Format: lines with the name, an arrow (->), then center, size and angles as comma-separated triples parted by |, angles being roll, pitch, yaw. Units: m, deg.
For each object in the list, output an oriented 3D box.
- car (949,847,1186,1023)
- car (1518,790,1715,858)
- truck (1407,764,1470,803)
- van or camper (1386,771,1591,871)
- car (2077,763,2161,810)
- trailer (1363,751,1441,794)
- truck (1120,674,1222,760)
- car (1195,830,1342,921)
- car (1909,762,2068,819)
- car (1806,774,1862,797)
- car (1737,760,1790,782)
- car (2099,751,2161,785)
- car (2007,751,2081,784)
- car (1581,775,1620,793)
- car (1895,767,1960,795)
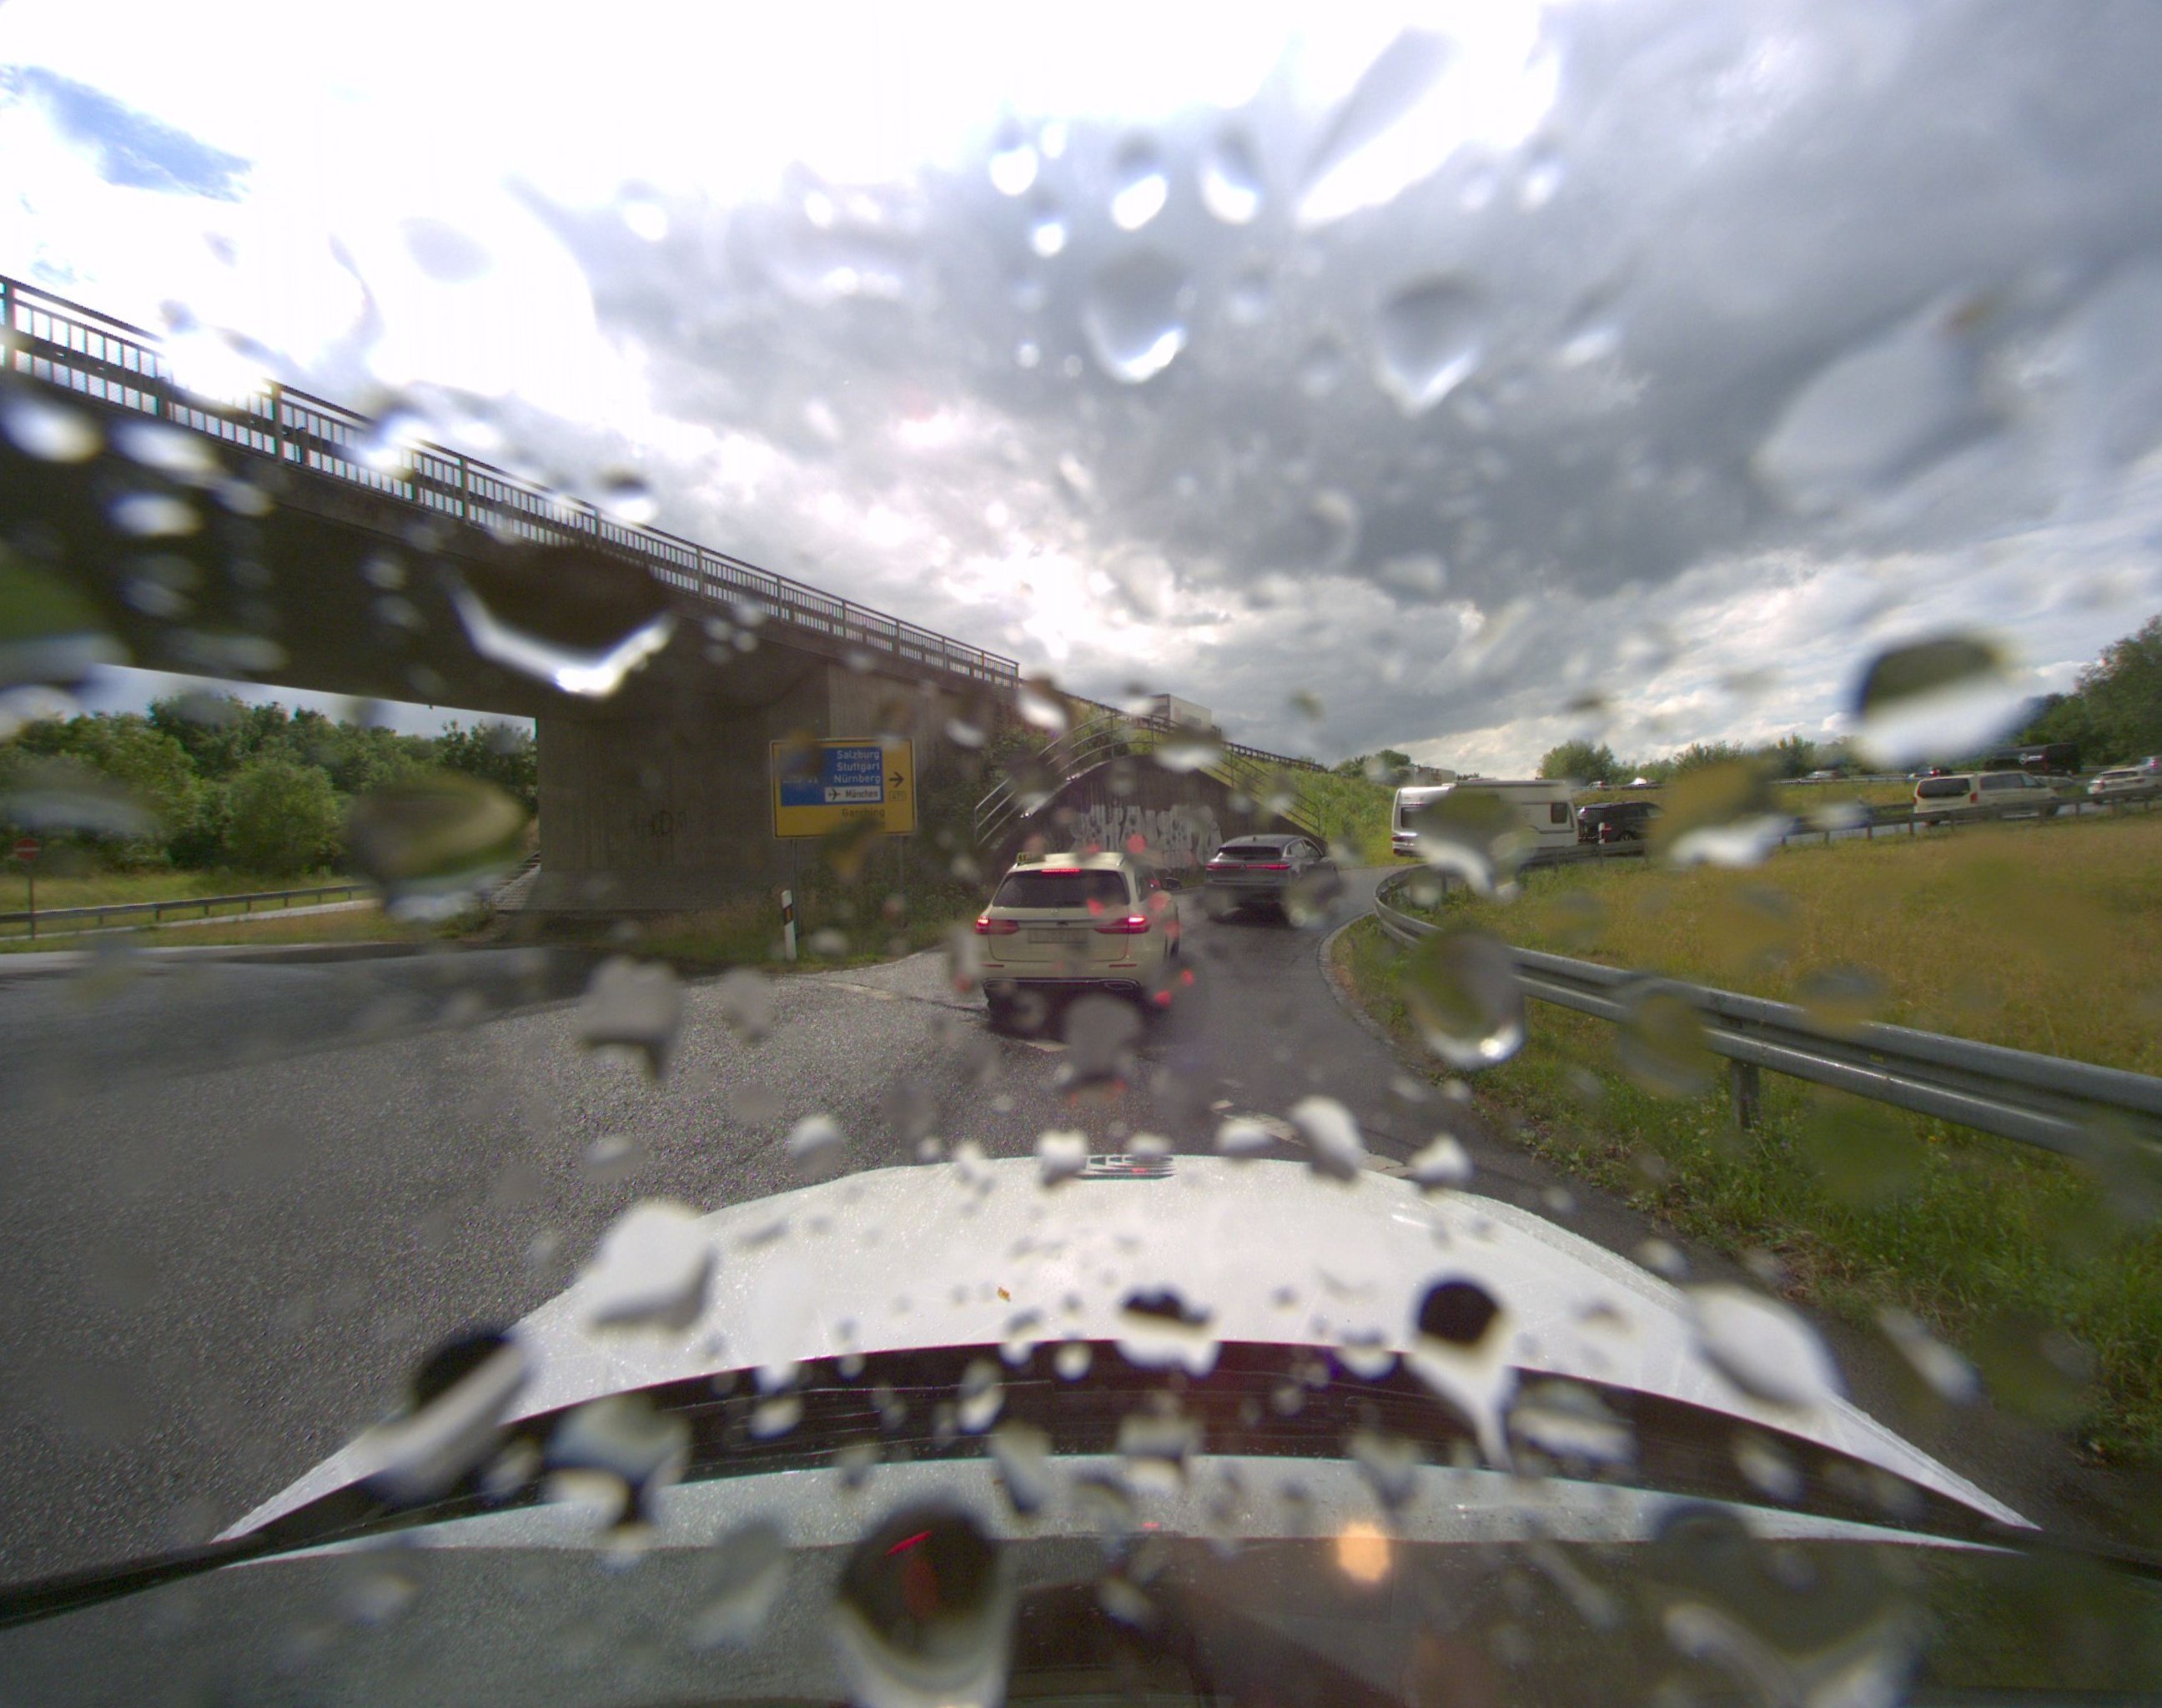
car -> 0.156, 0.707, 9.384 | 1.905, 1.507, 4.608 | -1, 0, 9
car -> 17.985, -1.046, 27.405 | 5.755, 1.925, 2.423 | -3, 3, -17
truck -> 53.791, -10.286, 121.967 | 4.417, 4.502, 19.501 | 0, 0, 36
van or camper -> 12.737, -1.095, 25.427 | 6.008, 2.728, 2.420 | -4, 3, -23
car -> 46.514, -2.992, 35.728 | 5.057, 1.861, 1.987 | -3, 1, -20
trailer -> 42.122, -10.420, 106.075 | 4.370, 3.955, 20.348 | 0, 1, 36
truck -> 5.922, -8.461, 51.934 | 3.150, 3.966, 9.294 | 0, 0, 28
car -> 3.797, 0.319, 15.967 | 1.701, 1.524, 4.025 | 0, 1, 30
car -> 34.441, -2.408, 30.925 | 5.051, 1.861, 1.990 | -3, 1, -16
car -> 75.806, -6.875, 82.079 | 1.986, 2.013, 4.003 | -3, 2, 2
car -> 73.645, -8.958, 87.947 | 1.994, 2.013, 3.985 | -1, 0, -11
car -> 65.868, -5.316, 50.455 | 1.644, 1.784, 5.089 | -2, 1, 30
car -> 71.237, -6.376, 60.317 | 1.975, 2.013, 4.023 | 0, 0, 24
car -> 70.570, -9.467, 110.724 | 2.005, 2.013, 3.964 | -2, 0, -27
car -> 74.528, -6.398, 71.773 | 1.980, 2.013, 4.013 | -2, 1, 12
